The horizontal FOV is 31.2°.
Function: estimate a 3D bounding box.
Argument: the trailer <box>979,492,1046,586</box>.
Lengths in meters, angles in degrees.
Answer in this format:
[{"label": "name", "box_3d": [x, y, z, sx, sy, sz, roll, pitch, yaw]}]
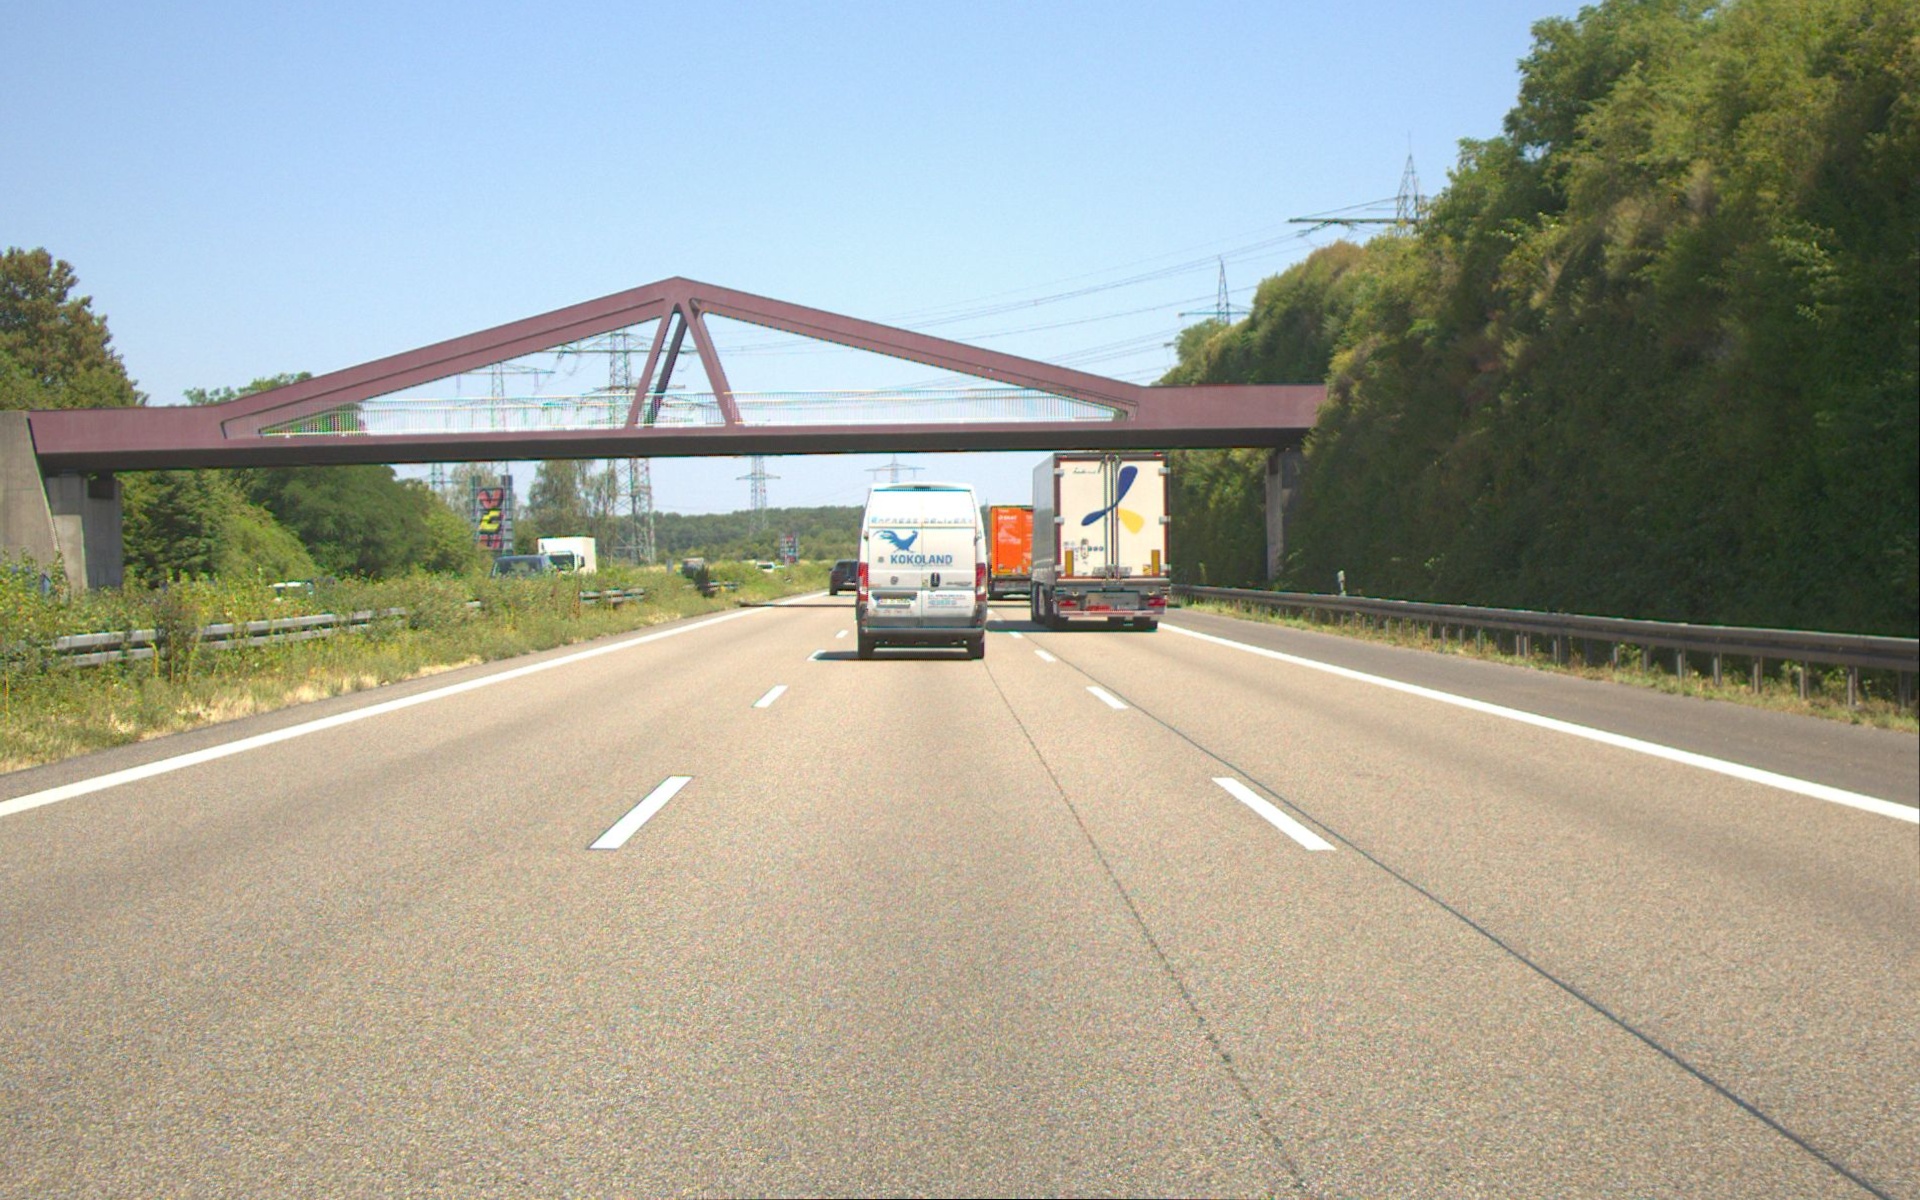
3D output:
[{"label": "trailer", "box_3d": [2.213, -2.586, 146.510, 2.637, 3.883, 7.069, 1, 1, 0]}]

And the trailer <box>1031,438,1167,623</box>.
[{"label": "trailer", "box_3d": [3.214, -1.633, 82.464, 2.637, 4.046, 12.366, 1, 1, 0]}]

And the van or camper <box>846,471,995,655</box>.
[{"label": "van or camper", "box_3d": [-0.650, -0.613, 55.461, 2.230, 2.772, 5.423, 1, 1, -1]}]

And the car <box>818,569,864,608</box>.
[{"label": "car", "box_3d": [-5.717, -0.568, 165.633, 1.982, 1.811, 3.813, 1, 1, 1]}]

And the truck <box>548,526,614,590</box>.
[{"label": "truck", "box_3d": [-22.178, -2.490, 201.775, 2.808, 3.525, 10.189, -2, 1, -1]}]
